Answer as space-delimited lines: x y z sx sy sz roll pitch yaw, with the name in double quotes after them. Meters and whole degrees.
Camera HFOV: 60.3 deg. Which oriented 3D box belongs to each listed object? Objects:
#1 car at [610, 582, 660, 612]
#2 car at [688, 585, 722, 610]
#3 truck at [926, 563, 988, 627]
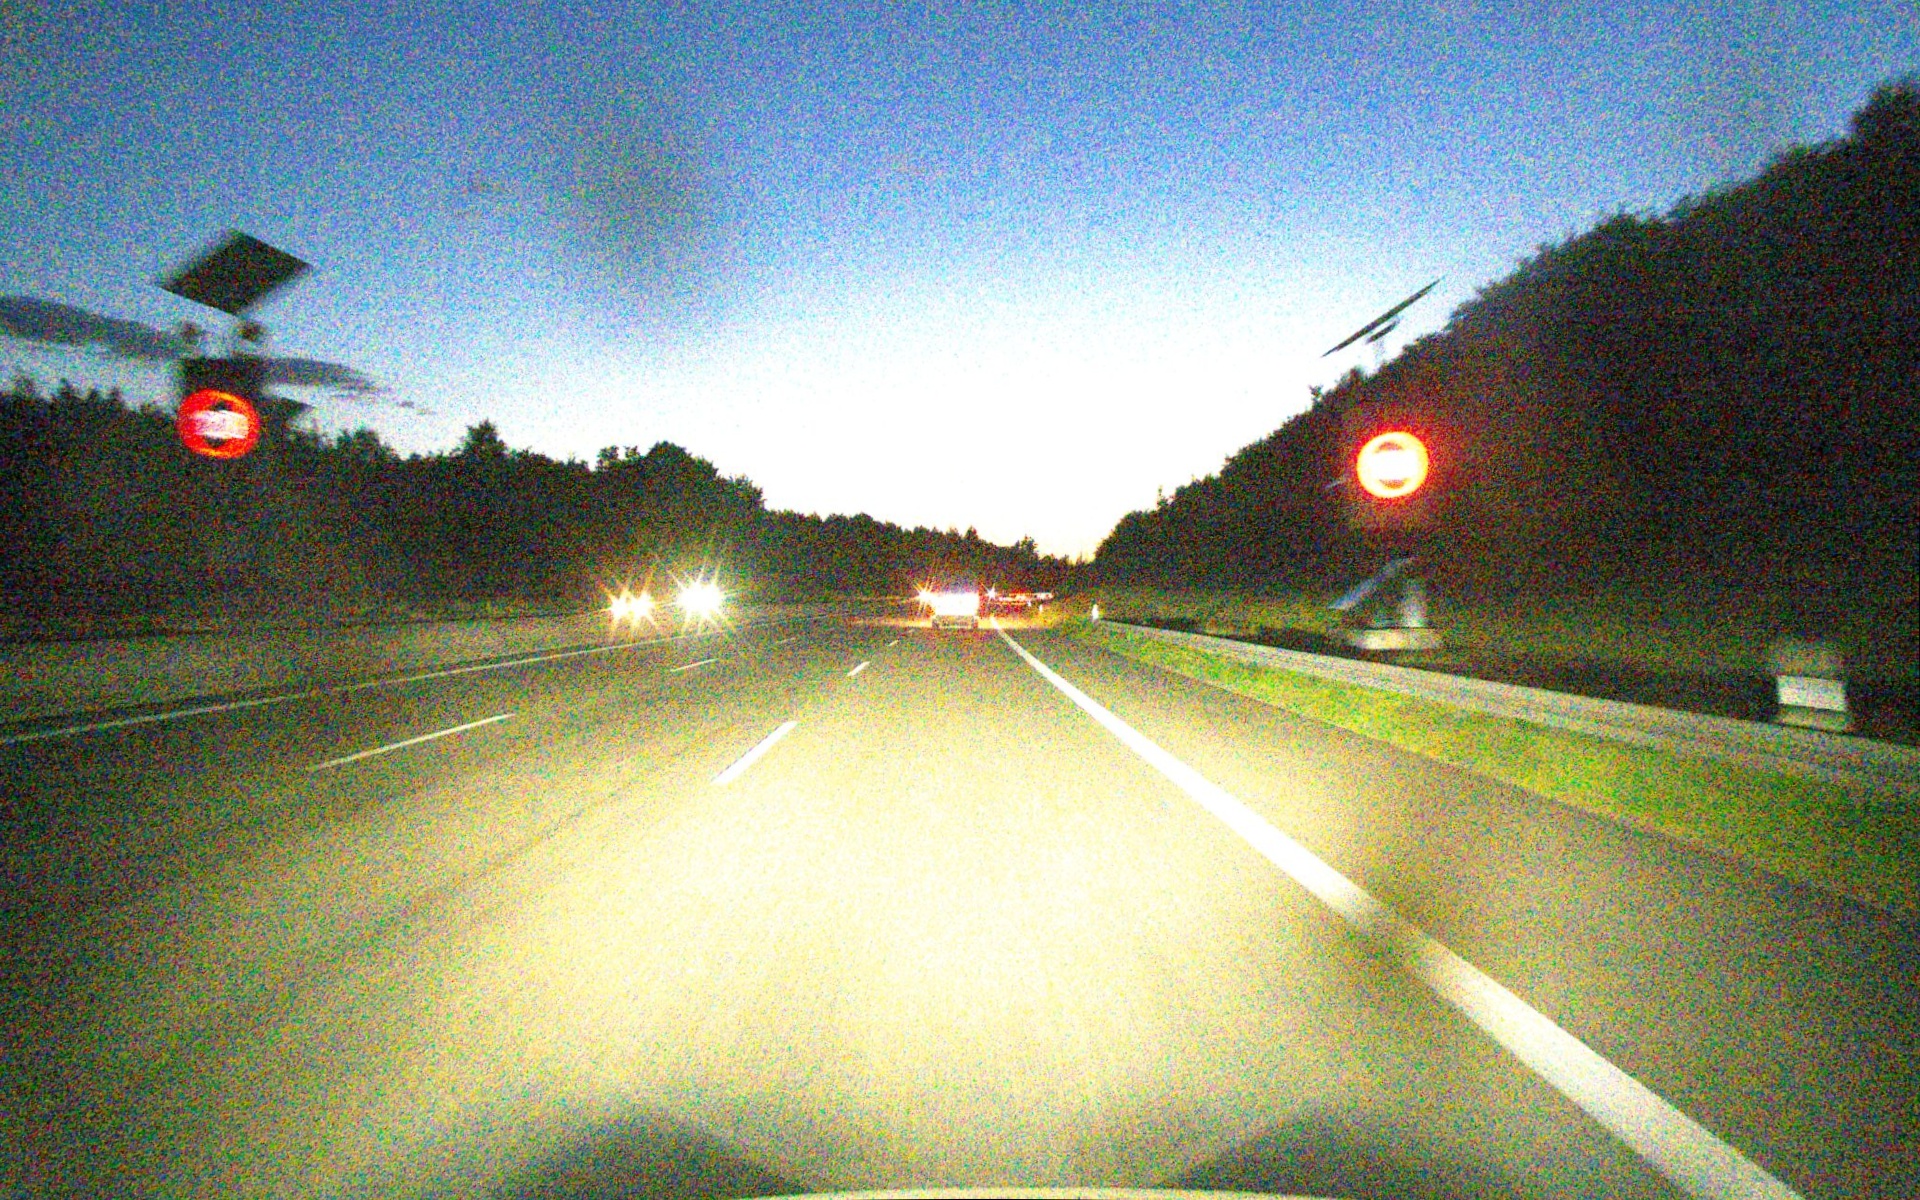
-18.125 -0.147 92.455 1.953 1.630 4.212 1 0 -1 "car"
-21.359 -0.205 138.558 1.985 2.049 5.186 1 0 0 "car"
-0.196 -0.186 73.850 2.577 2.670 8.682 1 0 -1 "truck"
